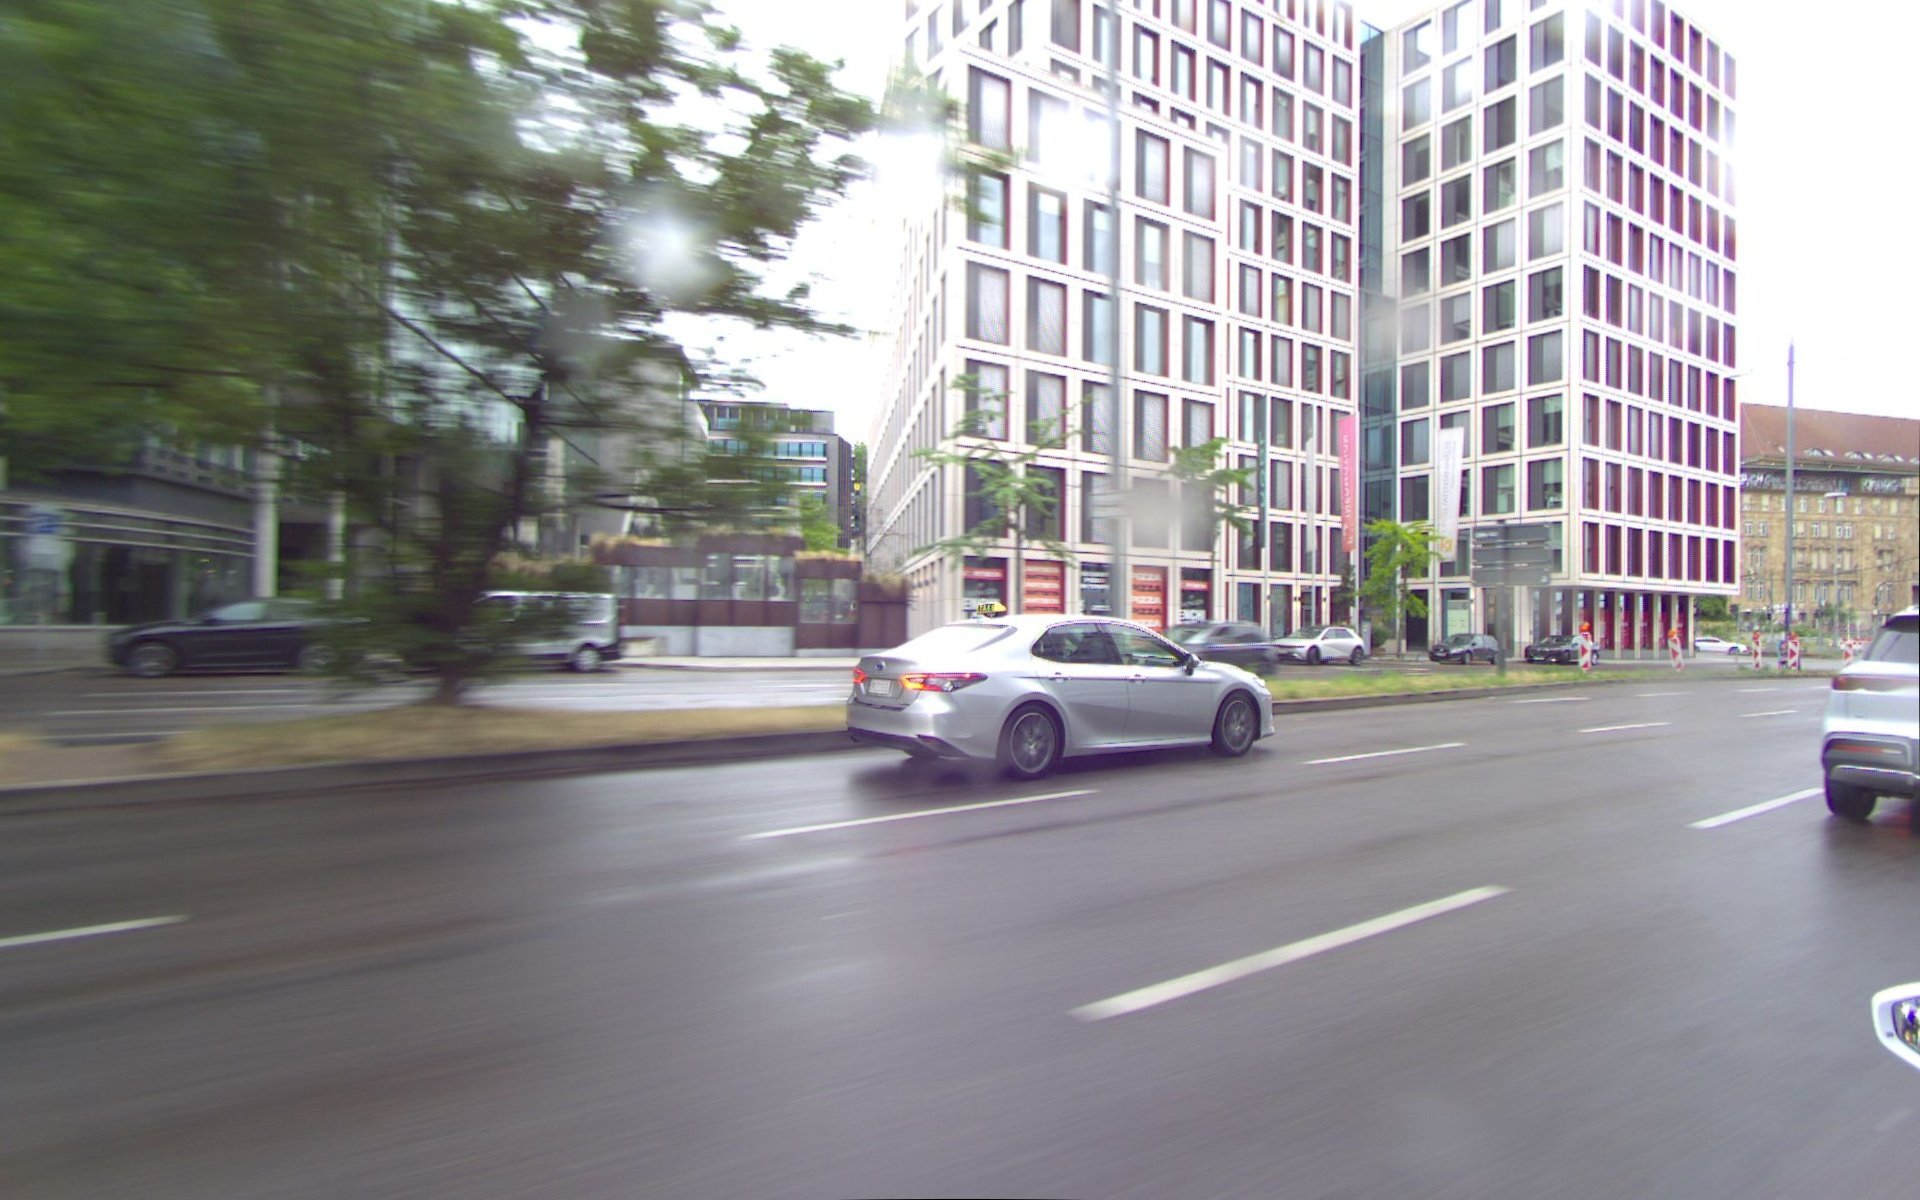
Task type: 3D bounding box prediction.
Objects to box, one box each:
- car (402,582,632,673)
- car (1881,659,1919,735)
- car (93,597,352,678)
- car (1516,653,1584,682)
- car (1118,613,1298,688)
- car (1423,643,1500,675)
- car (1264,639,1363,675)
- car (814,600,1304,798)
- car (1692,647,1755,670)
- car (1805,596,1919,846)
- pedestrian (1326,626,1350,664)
[{"bbox_3d":[-10.900,0.709,24.855,4.868,2.040,1.980,3,-1,-36],"label":"car"},{"bbox_3d":[20.535,1.980,20.241,4.333,1.422,1.724,3,-1,-31],"label":"car"},{"bbox_3d":[-15.539,0.812,21.420,4.245,1.549,1.785,3,-1,-36],"label":"car"},{"bbox_3d":[31.512,3.583,53.635,3.916,1.442,1.687,2,-3,-35],"label":"car"},{"bbox_3d":[6.190,1.237,24.757,4.836,1.654,1.810,3,-1,-40],"label":"car"},{"bbox_3d":[24.129,2.828,48.282,3.916,1.442,1.687,2,-3,-35],"label":"car"},{"bbox_3d":[14.750,2.373,41.840,4.330,1.442,1.687,2,-3,-35],"label":"car"},{"bbox_3d":[1.126,0.873,9.958,4.752,1.541,1.819,3,-1,-34],"label":"car"},{"bbox_3d":[67.024,5.117,88.198,4.328,1.684,1.991,1,-1,40],"label":"car"},{"bbox_3d":[8.325,0.900,7.773,4.131,1.683,1.795,3,-1,-36],"label":"car"},{"bbox_3d":[17.913,2.154,47.609,0.958,1.757,0.608,3,-1,-38],"label":"pedestrian"}]
